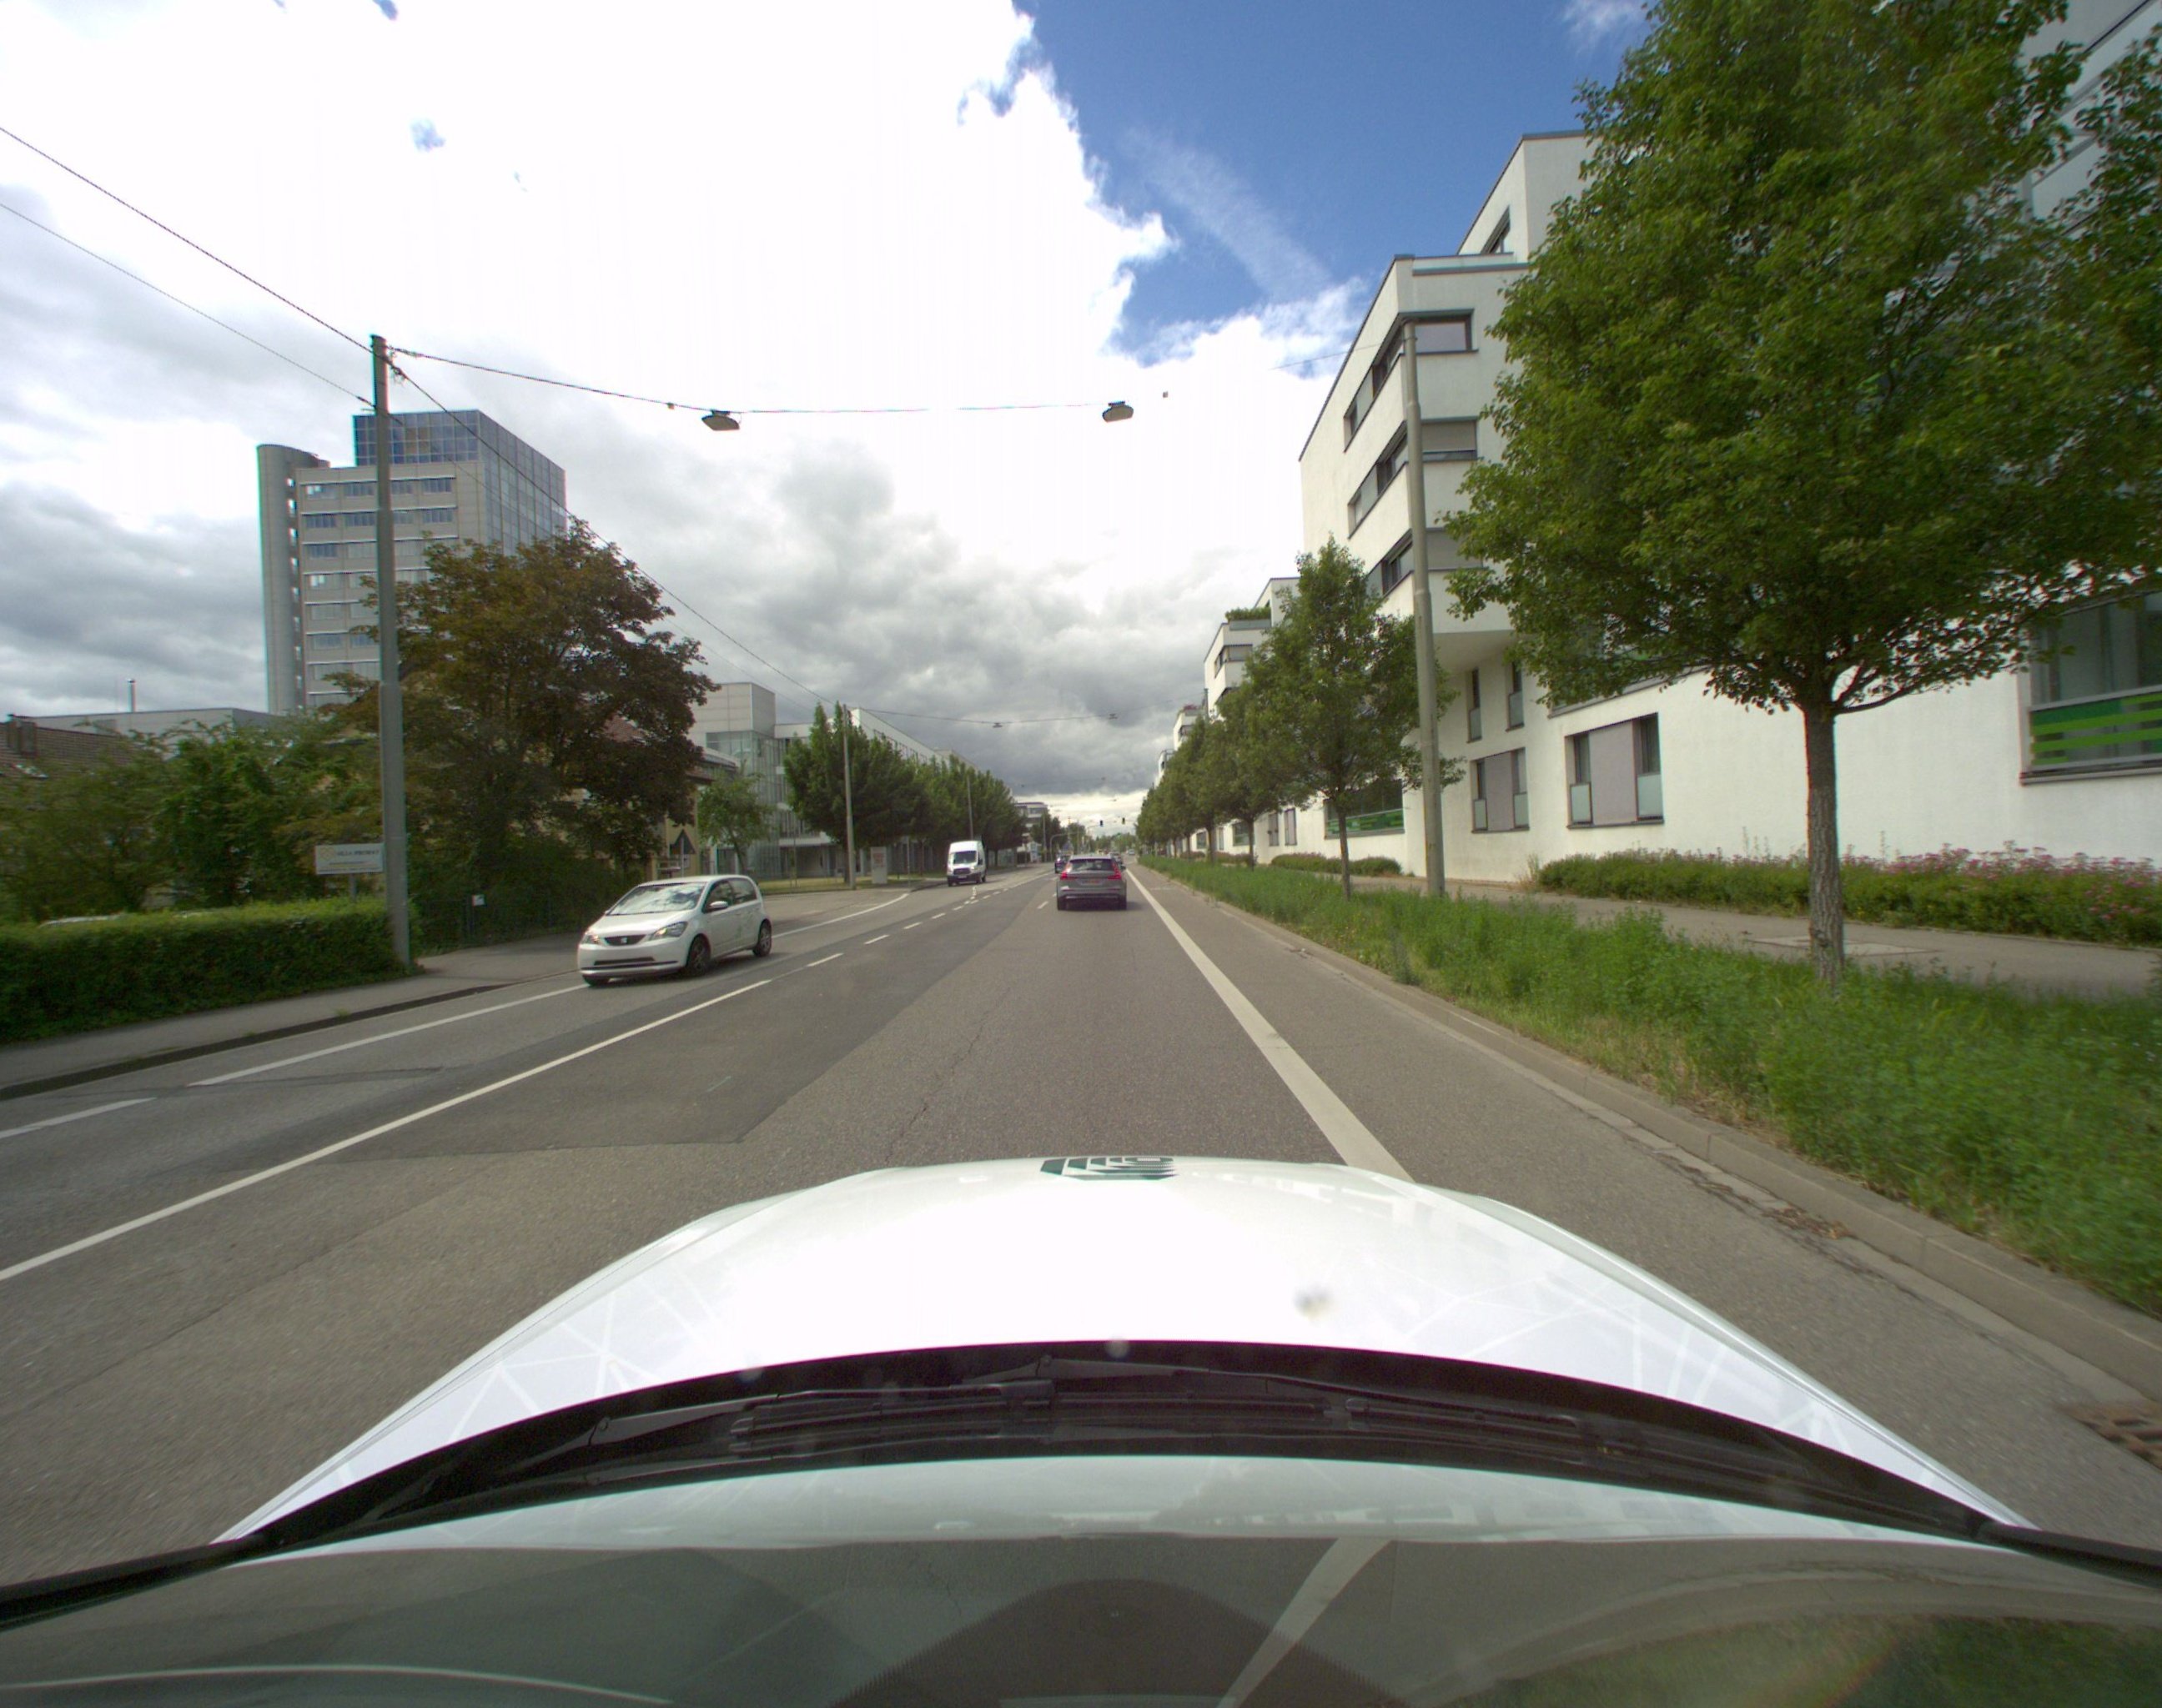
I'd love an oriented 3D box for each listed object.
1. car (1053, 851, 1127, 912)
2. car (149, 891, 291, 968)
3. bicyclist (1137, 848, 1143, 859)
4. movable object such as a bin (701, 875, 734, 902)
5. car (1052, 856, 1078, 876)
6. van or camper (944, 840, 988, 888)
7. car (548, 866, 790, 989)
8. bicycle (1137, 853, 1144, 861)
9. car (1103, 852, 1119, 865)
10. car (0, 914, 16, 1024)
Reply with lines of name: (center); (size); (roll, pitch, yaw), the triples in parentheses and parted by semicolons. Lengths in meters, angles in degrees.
car: (0.219, 0.700, 22.650); (1.849, 1.513, 3.998); (-1, 0, -1)
car: (-20.470, 1.716, 19.513); (1.674, 1.515, 3.398); (-3, 0, -36)
bicyclist: (11.510, -0.057, 158.040); (1.010, 2.013, 1.131); (-4, 0, 1)
movable object such as a bin: (-19.490, 1.836, 43.706); (1.411, 1.330, 1.414); (-4, 0, -20)
car: (-1.209, 0.922, 64.558); (1.848, 1.513, 4.001); (-2, 0, 1)
van or camper: (-7.223, 0.591, 51.686); (1.989, 2.734, 6.047); (-4, 0, -2)
car: (-6.285, 1.020, 13.010); (1.655, 1.515, 4.002); (-3, 0, 2)
bicycle: (11.566, 0.613, 158.033); (1.063, 1.453, 2.978); (-4, 0, 1)
car: (3.508, 0.503, 95.724); (1.838, 1.513, 4.001); (-2, 0, 1)
car: (-15.897, 1.643, 9.765); (1.656, 1.515, 3.435); (-3, 0, 0)
